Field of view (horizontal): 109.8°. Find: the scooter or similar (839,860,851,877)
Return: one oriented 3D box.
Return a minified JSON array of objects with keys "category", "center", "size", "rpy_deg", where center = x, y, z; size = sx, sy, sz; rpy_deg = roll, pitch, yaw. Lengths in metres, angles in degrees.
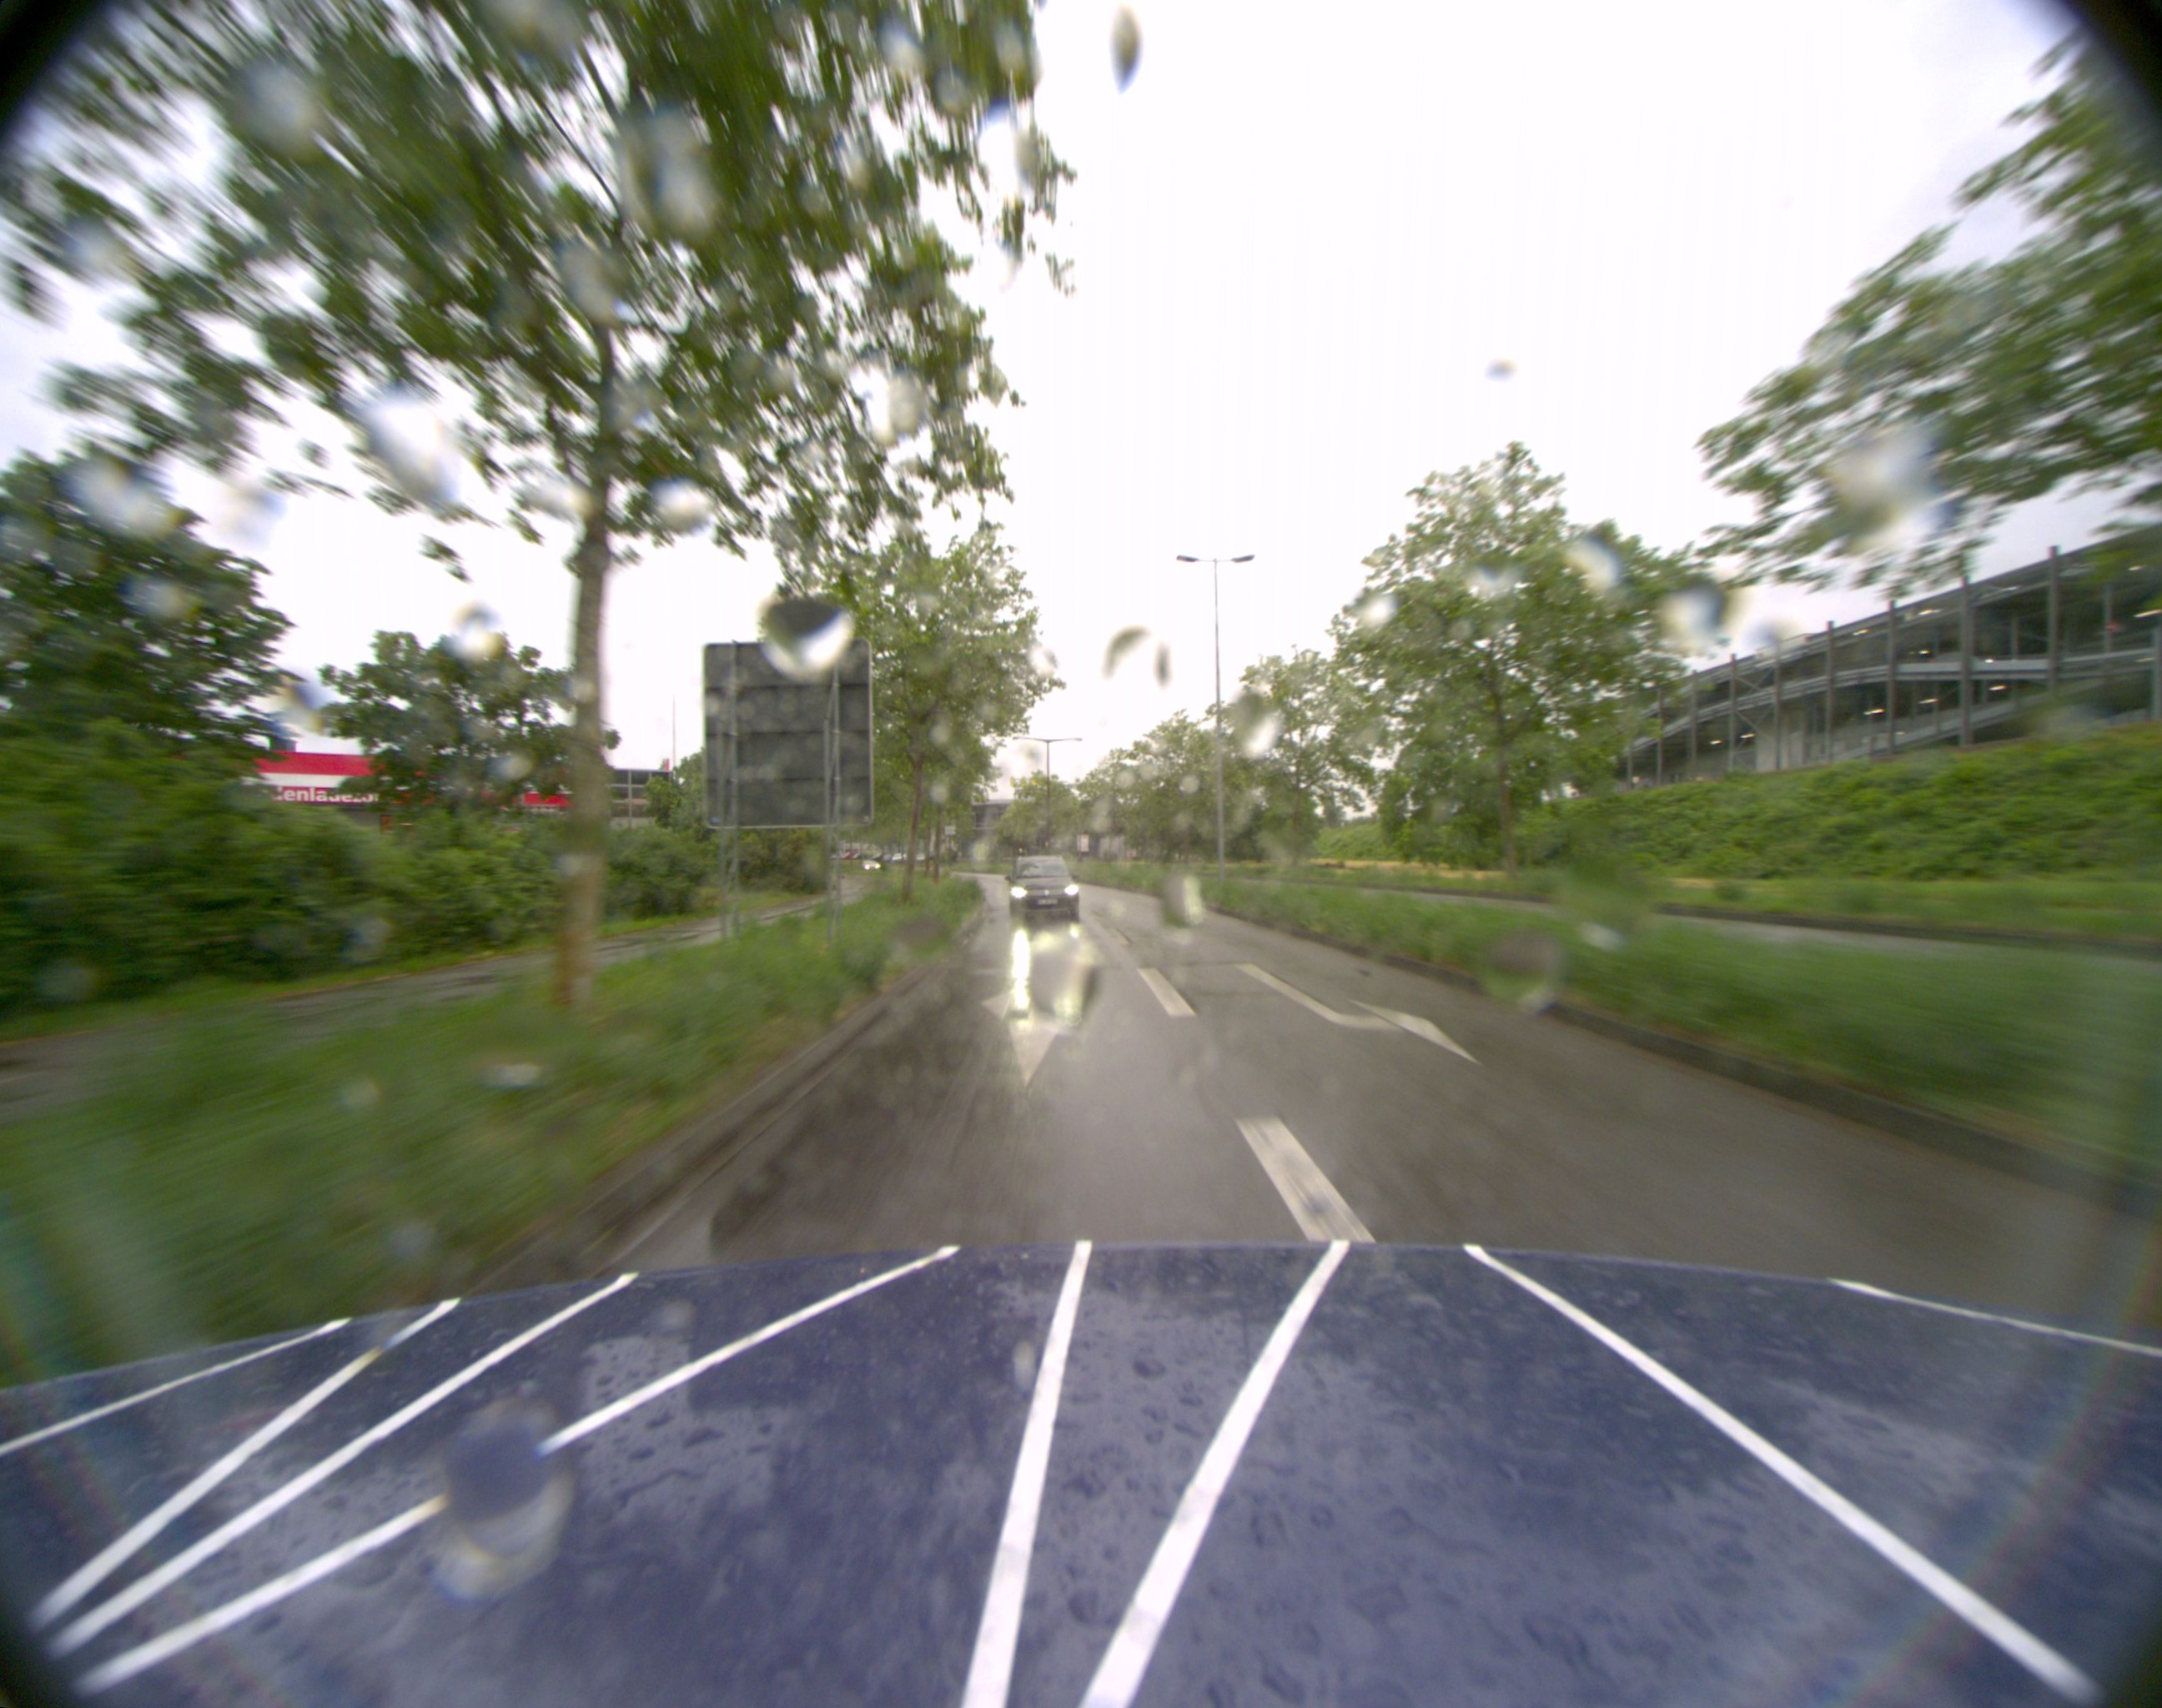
[{"category":"scooter or similar","center":[-19.013,1.160,61.122],"size":[0.452,1.267,1.597],"rpy_deg":[-2,1,-33]}]

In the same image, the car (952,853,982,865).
[{"category":"car","center":[-16.612,0.744,111.185],"size":[1.860,1.650,4.007],"rpy_deg":[-1,2,43]}]

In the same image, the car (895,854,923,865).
[{"category":"car","center":[-28.169,0.927,124.314],"size":[1.860,1.650,4.007],"rpy_deg":[-1,2,43]}]

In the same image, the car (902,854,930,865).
[{"category":"car","center":[-26.635,0.898,122.626],"size":[1.860,1.650,4.007],"rpy_deg":[-1,2,43]}]

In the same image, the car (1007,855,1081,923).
[{"category":"car","center":[-1.161,0.884,21.657],"size":[1.789,1.605,4.714],"rpy_deg":[-3,1,-6]}]

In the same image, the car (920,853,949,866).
[{"category":"car","center":[-22.592,0.841,117.209],"size":[1.860,1.650,4.007],"rpy_deg":[-1,2,43]}]

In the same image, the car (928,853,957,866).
[{"category":"car","center":[-20.983,0.839,115.401],"size":[1.860,1.650,4.007],"rpy_deg":[-1,2,43]}]

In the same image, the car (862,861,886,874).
[{"category":"car","center":[-26.848,1.711,98.528],"size":[2.003,1.641,3.991],"rpy_deg":[-2,1,-30]}]

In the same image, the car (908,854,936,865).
[{"category":"car","center":[-25.231,0.876,120.834],"size":[1.860,1.650,4.007],"rpy_deg":[-1,2,43]}]

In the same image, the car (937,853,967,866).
[{"category":"car","center":[-19.382,0.802,113.984],"size":[1.860,1.650,4.007],"rpy_deg":[-1,2,43]}]

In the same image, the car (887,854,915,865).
[{"category":"car","center":[-29.719,0.964,125.658],"size":[1.860,1.650,4.007],"rpy_deg":[-1,2,43]}]

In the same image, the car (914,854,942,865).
[{"category":"car","center":[-23.950,0.859,119.056],"size":[1.860,1.650,4.007],"rpy_deg":[-1,2,43]}]

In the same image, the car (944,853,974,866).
[{"category":"car","center":[-18.005,0.773,112.585],"size":[1.860,1.650,4.007],"rpy_deg":[-1,2,43]}]
